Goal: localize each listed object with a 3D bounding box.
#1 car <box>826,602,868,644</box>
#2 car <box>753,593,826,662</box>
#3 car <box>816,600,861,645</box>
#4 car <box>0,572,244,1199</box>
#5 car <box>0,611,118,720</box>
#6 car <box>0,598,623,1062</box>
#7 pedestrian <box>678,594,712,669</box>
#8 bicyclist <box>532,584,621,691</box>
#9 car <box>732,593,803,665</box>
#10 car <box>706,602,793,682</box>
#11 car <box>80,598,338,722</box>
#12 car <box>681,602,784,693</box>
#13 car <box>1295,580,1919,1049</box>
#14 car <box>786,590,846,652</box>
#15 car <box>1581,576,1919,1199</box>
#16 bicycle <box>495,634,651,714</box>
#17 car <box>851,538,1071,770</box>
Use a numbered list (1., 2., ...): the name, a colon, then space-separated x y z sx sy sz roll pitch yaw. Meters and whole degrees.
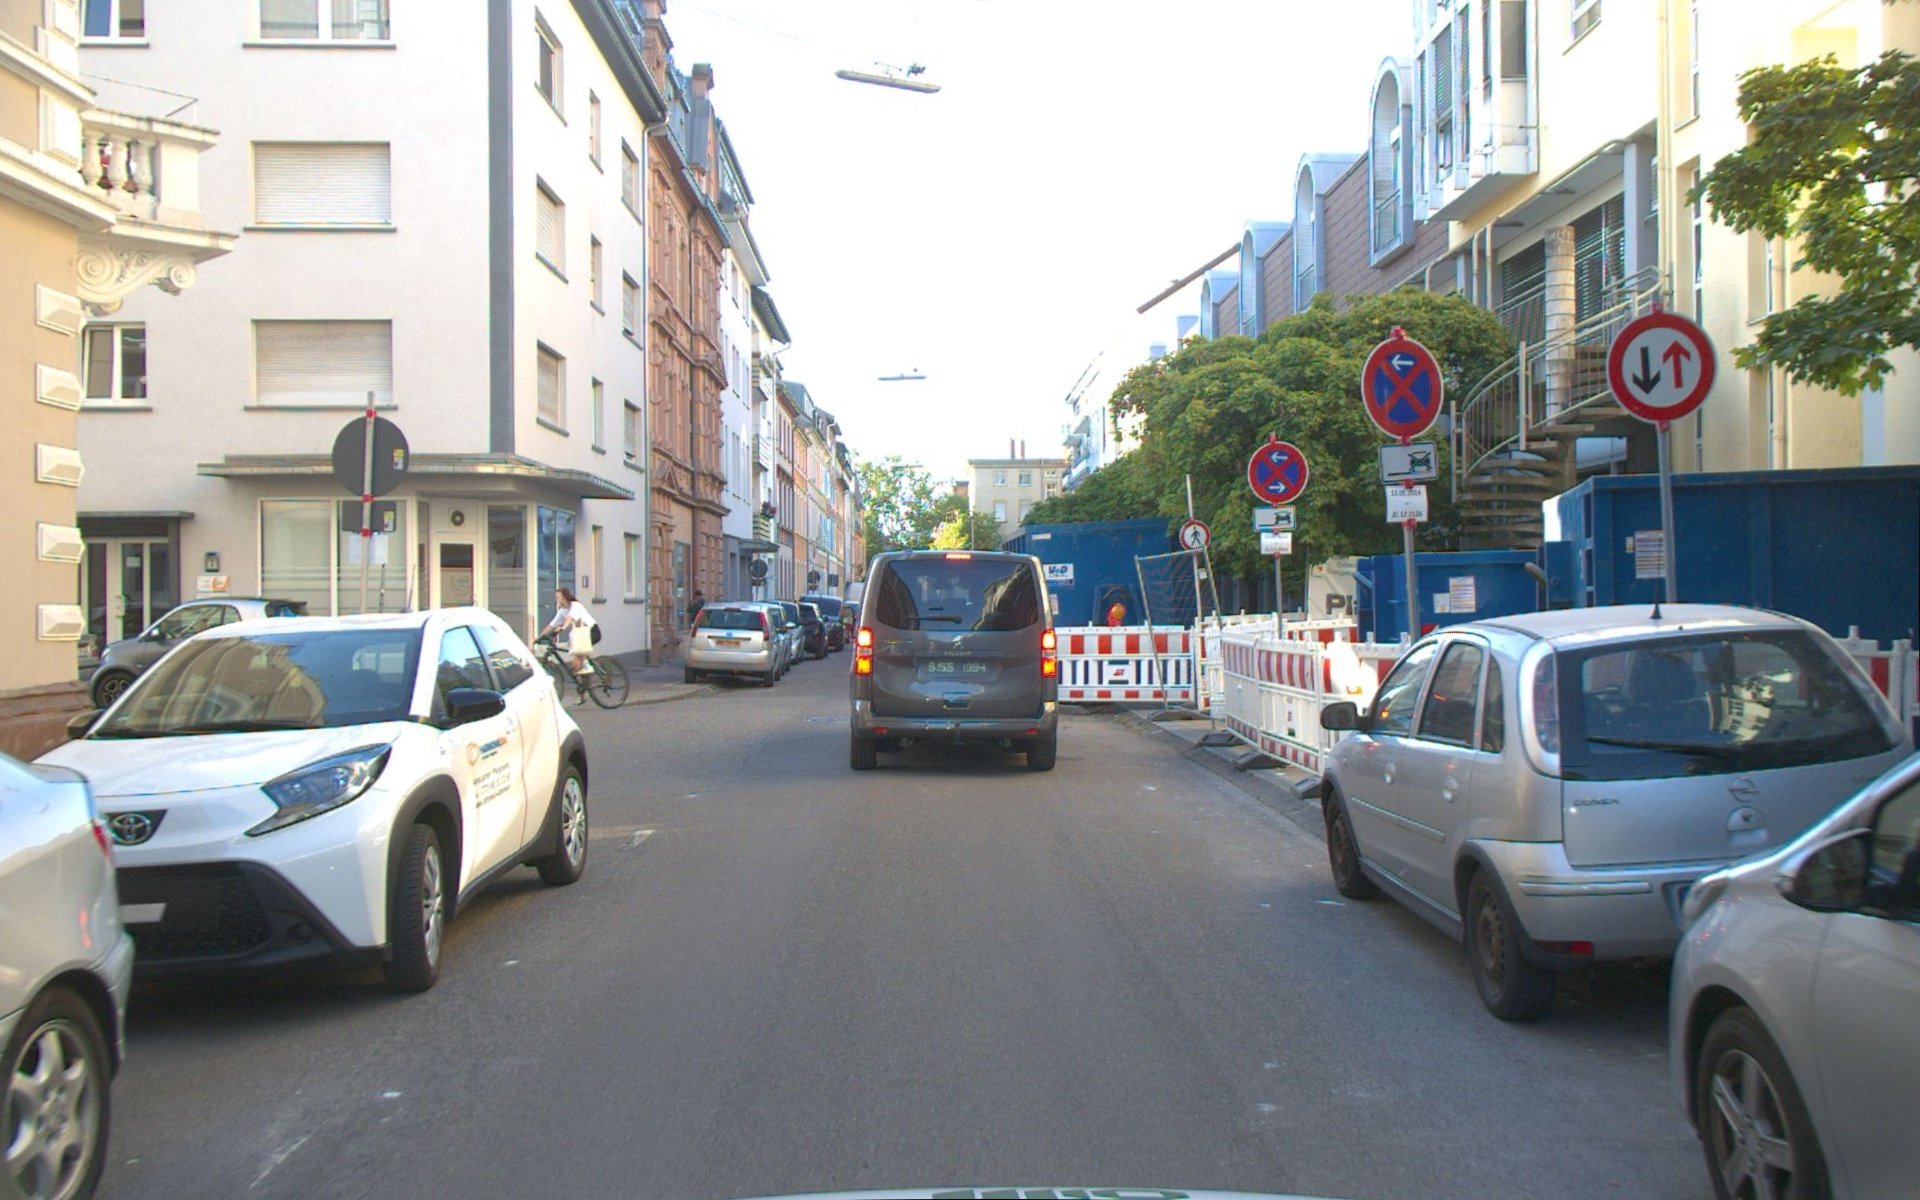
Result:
1. car: -5.609 1.141 81.419 1.855 1.878 4.344 4 -1 -5
2. car: -4.807 0.778 46.966 1.855 1.749 3.750 4 -1 -5
3. car: -5.637 1.058 76.494 1.855 1.878 4.344 4 -1 -5
4. car: -2.958 0.775 2.618 1.882 1.587 4.265 -2 0 -2
5. car: -13.950 0.859 22.500 4.120 1.428 1.602 0 -1 -3
6. car: -2.950 0.801 7.852 1.882 1.533 4.265 -2 0 -2
7. pedestrian: -6.092 0.715 38.053 0.725 1.694 0.703 0 0 -6
8. bicyclist: -5.327 0.513 22.976 0.721 1.437 0.936 1 -1 39
9. car: -5.007 0.747 43.324 1.634 1.695 3.088 4 -1 -5
10. car: -4.565 0.902 36.227 1.624 1.552 3.414 4 -1 -5
11. car: -10.091 0.789 22.369 2.730 1.567 1.593 1 -1 -1
12. car: -4.187 0.874 30.911 1.624 1.485 3.414 4 -1 -5
13. car: 2.665 0.714 7.325 1.642 1.501 3.730 -2 0 1
14. car: -4.897 0.729 56.335 1.855 1.878 4.344 4 -1 -5
15. car: 2.568 0.700 2.593 1.642 1.551 3.970 -2 0 0
16. bicycle: -5.339 1.009 22.961 0.721 1.046 2.104 1 -1 39
17. car: -0.093 0.485 15.914 1.828 1.919 4.232 1 -1 -3
